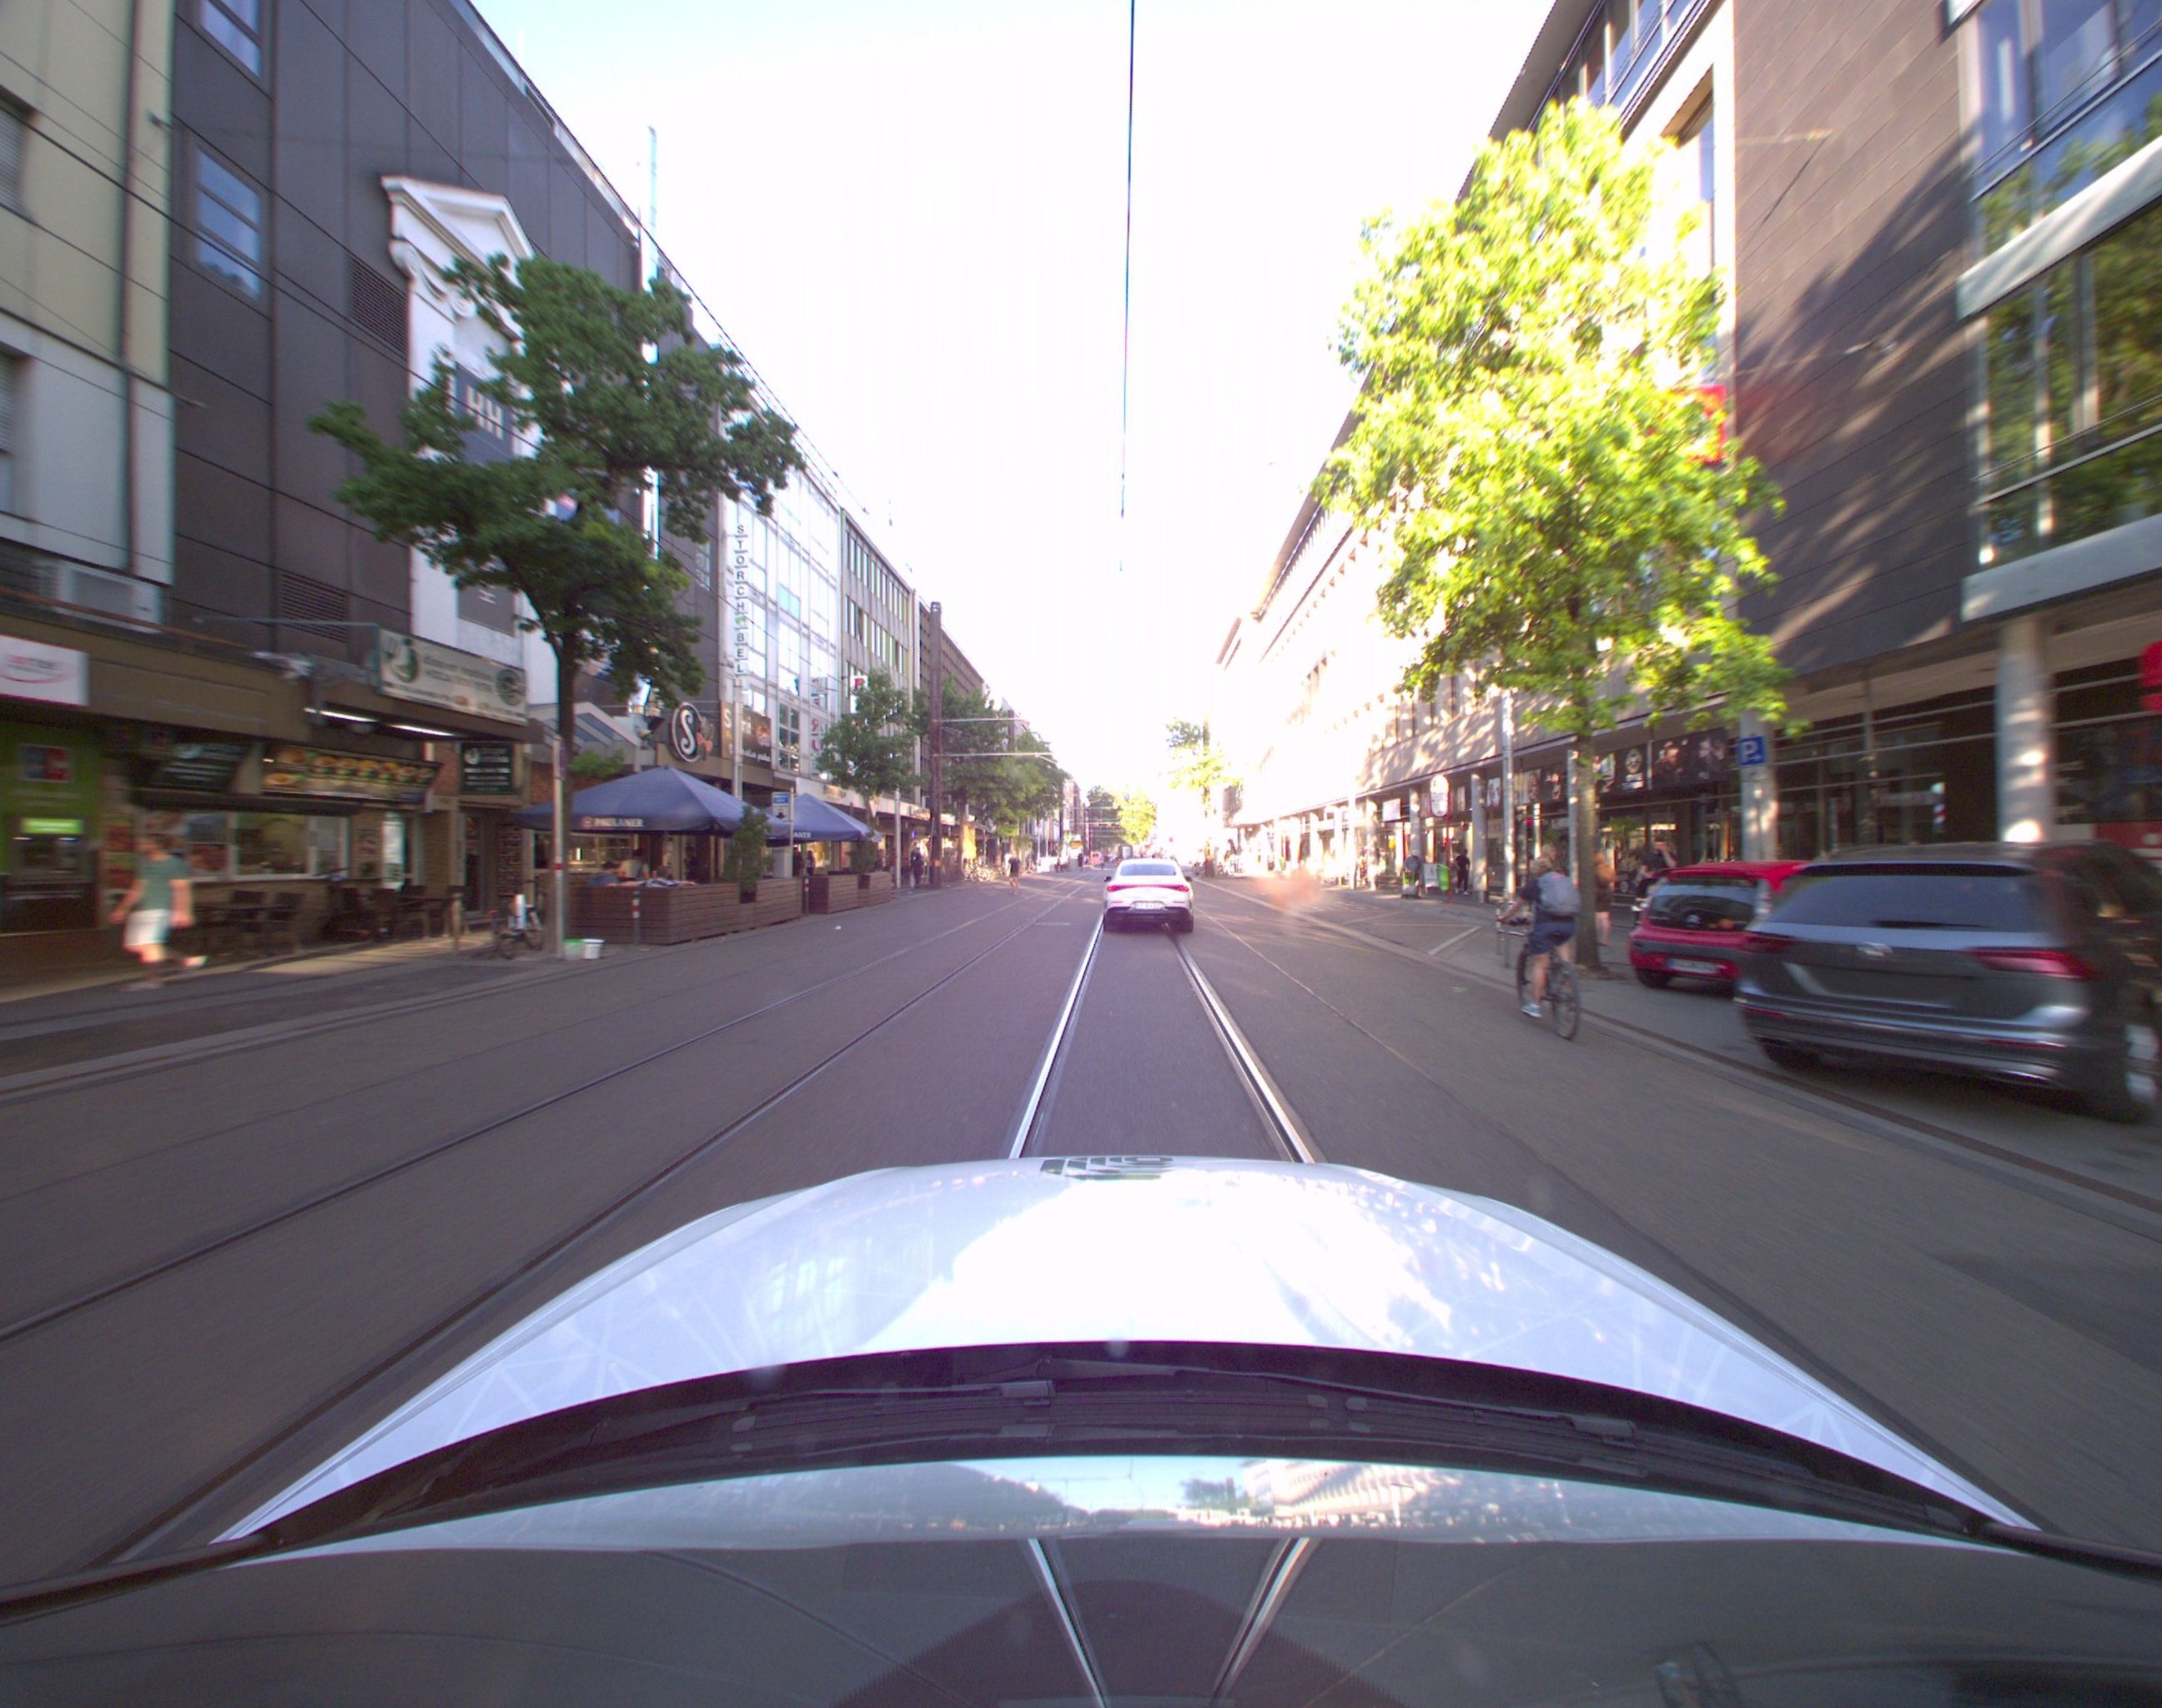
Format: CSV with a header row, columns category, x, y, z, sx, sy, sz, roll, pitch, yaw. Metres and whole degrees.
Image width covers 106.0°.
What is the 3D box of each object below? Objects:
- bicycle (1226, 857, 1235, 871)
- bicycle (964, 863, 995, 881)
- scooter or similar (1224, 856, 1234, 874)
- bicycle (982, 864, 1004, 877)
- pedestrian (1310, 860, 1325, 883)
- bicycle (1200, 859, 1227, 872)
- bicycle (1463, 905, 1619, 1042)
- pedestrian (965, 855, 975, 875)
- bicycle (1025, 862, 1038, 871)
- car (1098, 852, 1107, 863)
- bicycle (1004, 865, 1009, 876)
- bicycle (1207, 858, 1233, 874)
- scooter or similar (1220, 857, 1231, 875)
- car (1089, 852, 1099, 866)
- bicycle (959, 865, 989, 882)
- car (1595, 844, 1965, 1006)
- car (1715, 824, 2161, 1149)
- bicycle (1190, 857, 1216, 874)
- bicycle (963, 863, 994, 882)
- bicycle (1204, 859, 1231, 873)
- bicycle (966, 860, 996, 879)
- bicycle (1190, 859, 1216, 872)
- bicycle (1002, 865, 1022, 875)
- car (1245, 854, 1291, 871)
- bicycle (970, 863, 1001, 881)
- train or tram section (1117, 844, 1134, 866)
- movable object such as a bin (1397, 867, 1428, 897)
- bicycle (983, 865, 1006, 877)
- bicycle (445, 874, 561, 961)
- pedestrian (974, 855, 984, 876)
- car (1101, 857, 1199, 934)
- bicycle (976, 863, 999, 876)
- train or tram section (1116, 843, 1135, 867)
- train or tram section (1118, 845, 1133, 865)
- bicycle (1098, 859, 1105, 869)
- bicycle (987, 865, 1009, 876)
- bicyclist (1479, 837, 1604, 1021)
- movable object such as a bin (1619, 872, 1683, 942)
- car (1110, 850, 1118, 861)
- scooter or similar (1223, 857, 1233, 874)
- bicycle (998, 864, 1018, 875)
category,x,y,z,sx,sy,sz,roll,pitch,yaw
bicycle,12.436,0.833,67.855,0.561,1.127,1.933,-2,0,6
bicycle,-6.050,1.073,48.484,1.784,1.077,0.377,1,0,-2
scooter or similar,10.771,0.810,59.375,0.491,1.277,0.658,-2,0,-8
bicycle,-6.040,1.119,55.946,1.486,0.841,0.345,1,0,4
pedestrian,12.123,0.890,41.755,0.663,1.198,0.786,0,0,8
bicycle,11.301,0.978,69.495,2.112,1.096,0.608,-1,-1,-9
bicycle,4.352,1.066,7.884,0.713,0.995,2.065,1,0,12
pedestrian,-8.567,0.846,62.754,0.712,1.547,0.684,-1,-1,-3
bicycle,-5.351,1.366,88.616,0.713,1.010,2.048,-1,0,17
car,5.084,0.784,195.272,1.901,2.461,5.279,-1,0,3
bicycle,-5.321,1.168,58.214,0.343,0.783,1.403,1,0,-5
bicycle,10.929,0.953,64.178,1.907,1.156,0.608,-2,-1,-9
scooter or similar,10.783,0.894,60.732,0.527,1.277,0.658,-2,0,-8
car,2.861,1.014,176.549,1.985,2.897,5.279,-1,0,3
bicycle,-5.942,1.087,45.165,1.586,0.930,0.378,1,0,9
car,8.043,0.715,9.452,3.395,1.481,1.658,-3,0,-17
car,6.888,0.674,6.113,4.367,1.652,1.679,-3,0,-28
bicycle,9.773,0.935,65.039,1.907,1.281,0.608,-2,-1,-9
bicycle,-6.033,1.068,48.022,1.784,1.077,0.377,1,0,-2
bicycle,11.249,0.960,67.295,2.114,1.096,0.608,-1,-1,-10
bicycle,-6.396,0.992,52.239,1.838,1.141,0.377,1,0,4
bicycle,10.181,0.987,68.011,2.112,1.096,0.608,0,-1,-9
bicycle,-5.548,1.252,65.494,1.486,0.783,0.345,1,0,4
car,16.968,0.768,73.913,3.792,1.473,1.648,-1,0,-2
bicycle,-5.811,1.086,49.727,1.841,1.077,0.377,1,0,-2
train or tram section,7.594,0.208,138.373,2.683,3.516,12.555,-1,0,3
movable object such as a bin,10.386,0.867,25.516,0.687,0.924,0.718,1,0,3
bicycle,-6.027,1.171,56.692,1.486,0.783,0.345,1,0,4
bicycle,-8.756,0.921,12.442,0.698,1.121,2.076,2,0,-14
pedestrian,-7.852,0.885,62.783,0.712,1.640,0.684,-1,-1,-3
car,1.414,0.795,17.566,1.850,1.455,4.178,0,0,3
bicycle,-6.279,1.056,54.928,1.486,0.841,0.345,1,0,4
train or tram section,6.886,0.174,125.830,2.683,3.516,12.555,-1,0,3
train or tram section,8.255,0.246,150.206,2.683,3.516,11.152,-1,0,3
bicycle,2.394,1.221,96.484,0.797,1.142,2.258,1,0,2
bicycle,-5.815,1.152,57.310,1.486,0.783,0.345,1,0,4
bicyclist,4.328,0.664,7.726,0.772,1.613,0.916,1,0,12
movable object such as a bin,9.375,0.853,13.391,0.681,1.064,0.838,-3,-1,45
car,9.257,0.464,227.193,2.090,2.897,5.279,-1,0,3
scooter or similar,10.825,0.854,60.053,0.527,1.277,0.658,-2,0,-8
bicycle,-5.756,1.227,64.193,1.486,0.783,0.345,1,0,4
